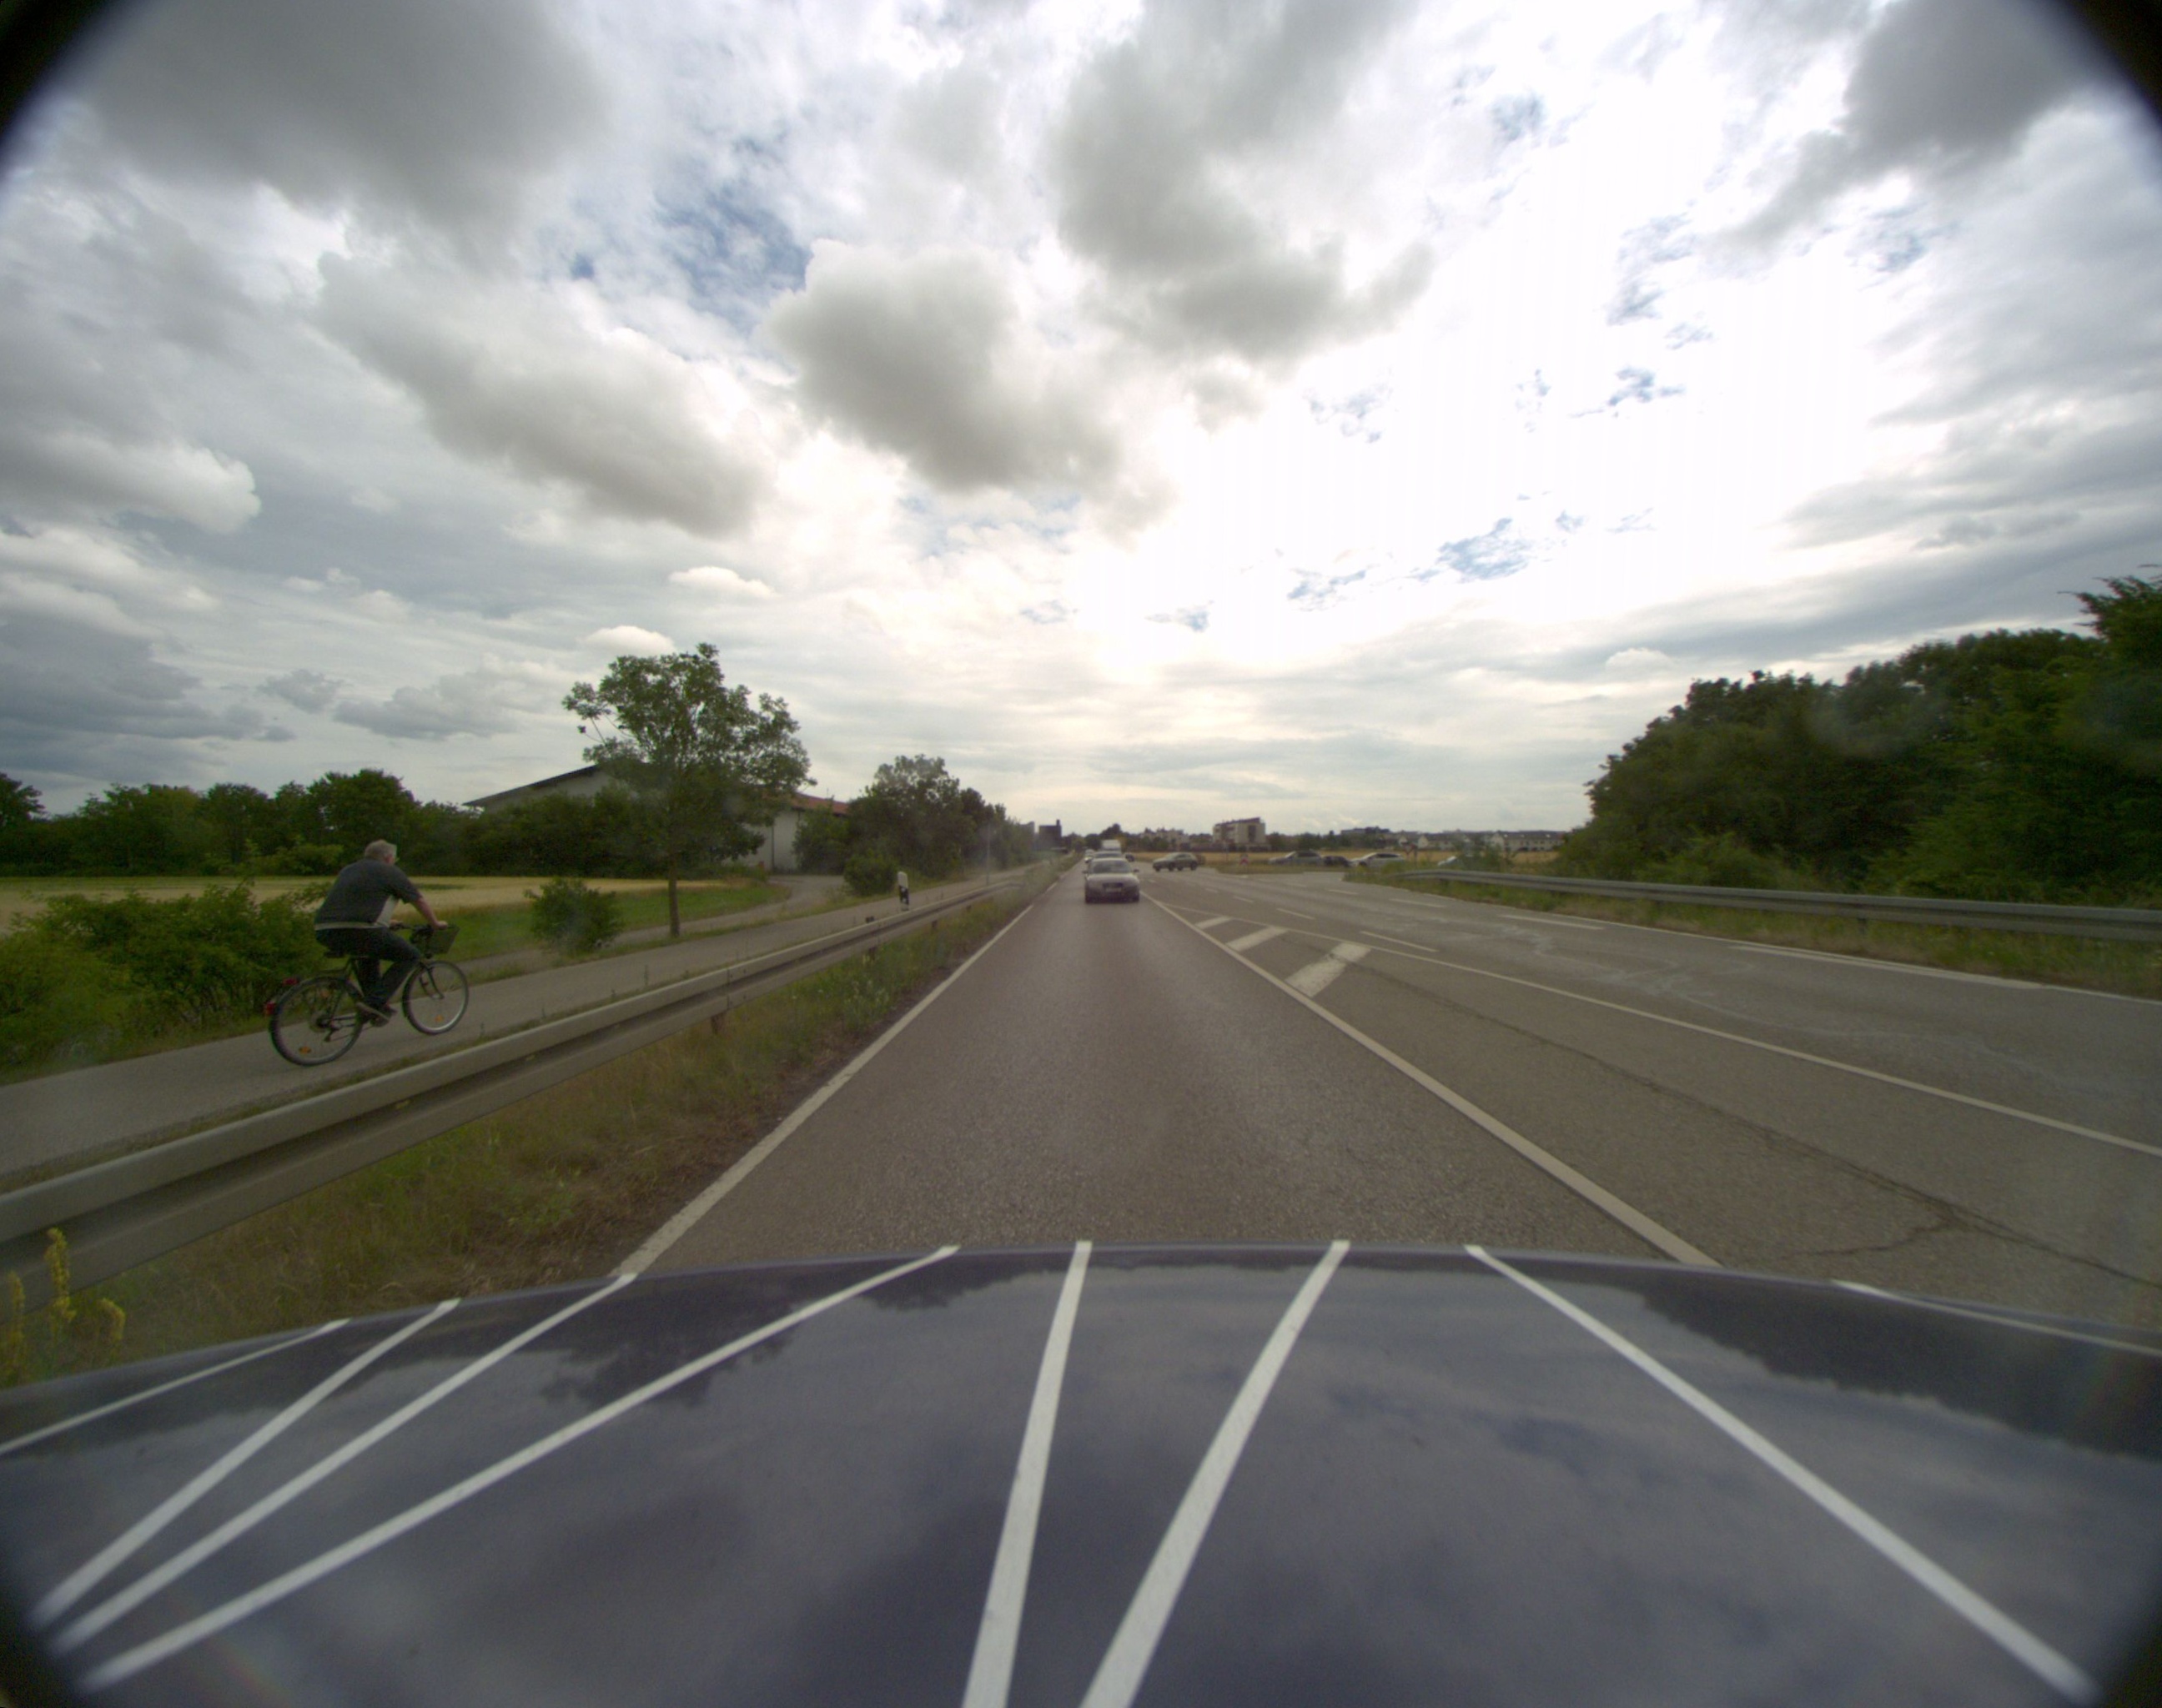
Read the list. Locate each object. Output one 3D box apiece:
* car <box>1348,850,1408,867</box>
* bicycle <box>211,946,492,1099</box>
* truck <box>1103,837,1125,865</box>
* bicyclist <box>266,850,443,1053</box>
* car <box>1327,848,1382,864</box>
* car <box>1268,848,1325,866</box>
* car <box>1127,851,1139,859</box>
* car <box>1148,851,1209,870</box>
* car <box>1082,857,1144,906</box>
[{"bbox_3d":[25.843,0.376,66.236,4.500,1.474,1.912,0,1,7],"label":"car"},{"bbox_3d":[-6.226,1.390,6.661,0.667,0.915,1.830,-1,1,1],"label":"bicycle"},{"bbox_3d":[4.417,-0.440,104.173,2.813,3.588,11.218,0,1,1],"label":"truck"},{"bbox_3d":[-6.234,0.787,6.578,0.648,1.636,0.866,-1,1,0],"label":"bicyclist"},{"bbox_3d":[24.824,0.189,69.107,4.406,1.474,1.912,0,1,7],"label":"car"},{"bbox_3d":[19.105,0.256,67.469,4.633,1.508,1.912,0,1,7],"label":"car"},{"bbox_3d":[8.486,0.162,125.009,1.867,1.368,4.000,-1,1,3],"label":"car"},{"bbox_3d":[8.317,0.502,64.678,5.312,1.512,1.906,-1,1,-35],"label":"car"},{"bbox_3d":[1.007,0.862,25.677,1.909,1.416,4.464,0,1,0],"label":"car"}]
